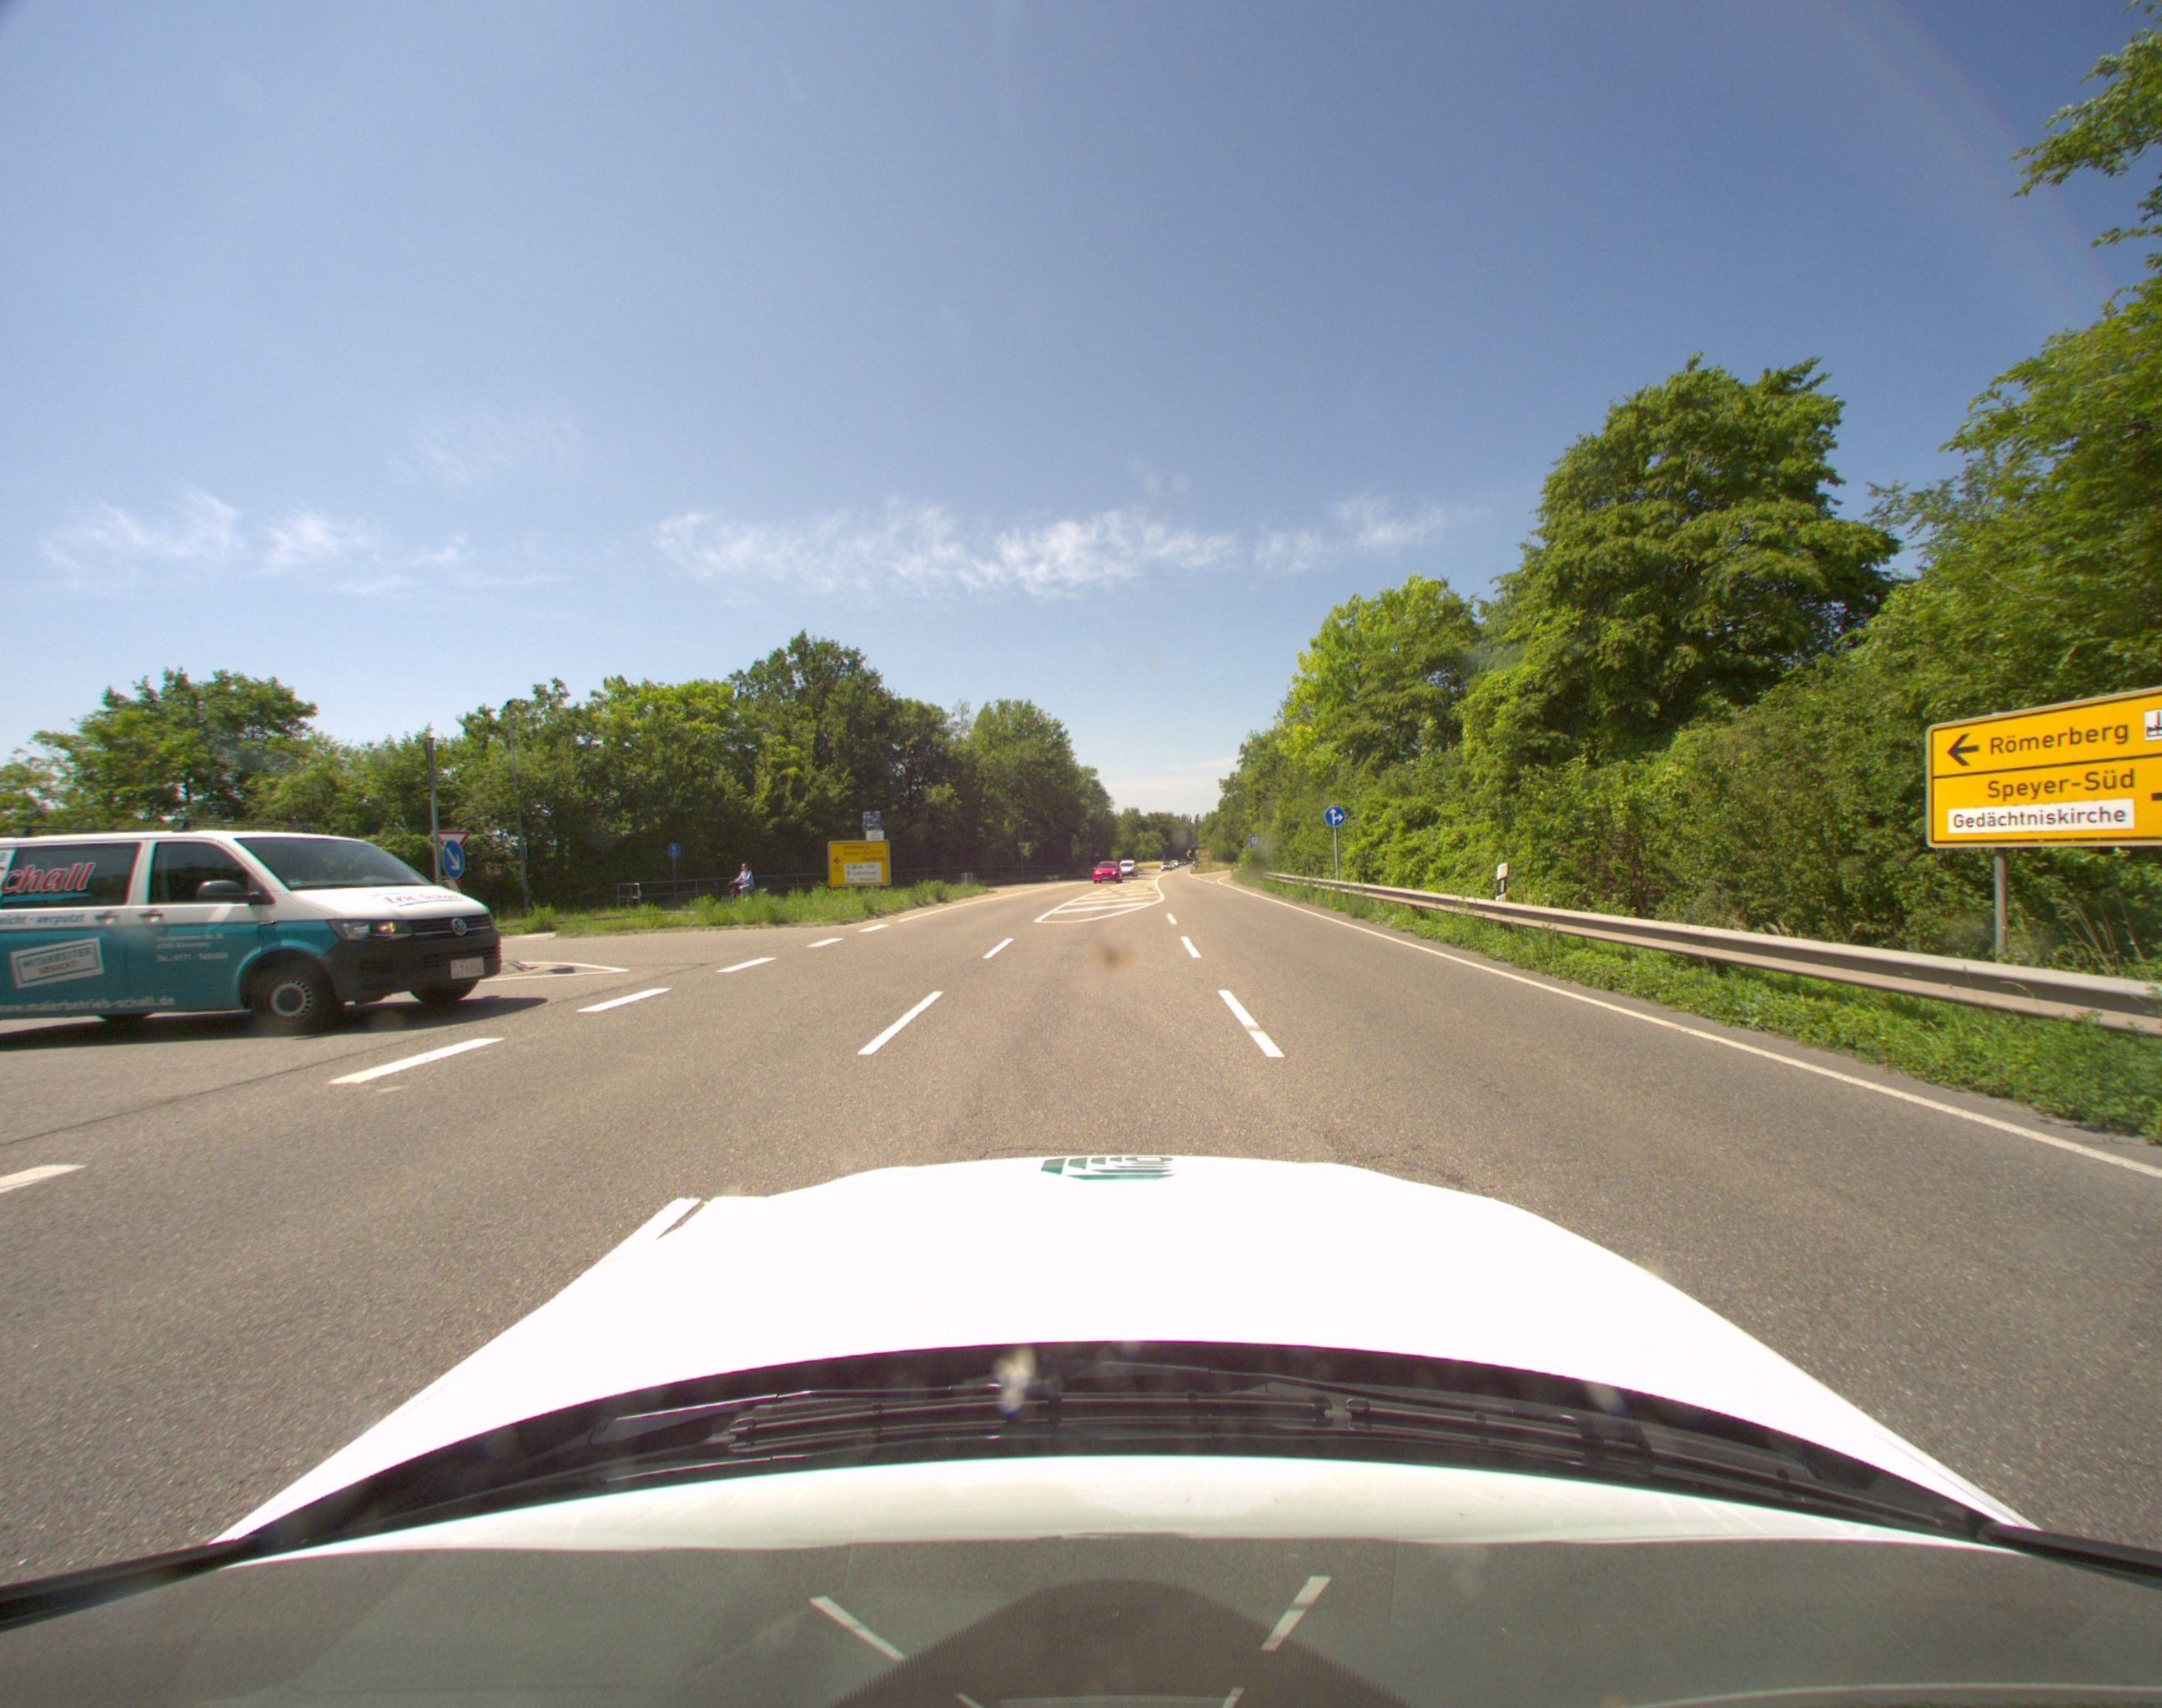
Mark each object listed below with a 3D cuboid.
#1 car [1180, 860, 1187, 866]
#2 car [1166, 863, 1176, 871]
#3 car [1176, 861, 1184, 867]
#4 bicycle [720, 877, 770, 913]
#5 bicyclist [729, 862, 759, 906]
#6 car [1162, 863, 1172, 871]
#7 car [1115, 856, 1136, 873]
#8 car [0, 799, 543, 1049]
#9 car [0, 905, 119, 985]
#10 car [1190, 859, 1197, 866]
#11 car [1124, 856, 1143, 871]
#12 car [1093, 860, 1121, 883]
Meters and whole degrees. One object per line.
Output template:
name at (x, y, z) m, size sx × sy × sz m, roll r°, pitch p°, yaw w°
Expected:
car at (29.271, 2.511, 232.818) m, size 1.710 × 1.509 × 3.718 m, roll -2°, pitch 0°, yaw 9°
car at (18.812, 2.773, 169.982) m, size 1.667 × 1.527 × 4.011 m, roll -2°, pitch 0°, yaw 10°
car at (23.567, 2.379, 194.458) m, size 1.710 × 1.528 × 3.718 m, roll -2°, pitch 0°, yaw 9°
bicycle at (-10.825, 1.306, 26.278) m, size 0.431 × 1.113 × 1.491 m, roll -2°, pitch -1°, yaw 36°
bicyclist at (-10.861, 0.963, 26.256) m, size 0.681 × 1.363 × 0.613 m, roll -2°, pitch -1°, yaw 36°
car at (16.350, 2.447, 154.217) m, size 1.668 × 1.527 × 4.008 m, roll -2°, pitch 0°, yaw 7°
car at (4.887, 1.163, 88.918) m, size 1.984 × 1.730 × 4.281 m, roll -2°, pitch 0°, yaw 6°
car at (-8.763, 0.666, 8.240) m, size 5.155 × 2.027 × 1.999 m, roll -3°, pitch 0°, yaw -1°
car at (-23.098, 1.950, 17.011) m, size 3.775 × 1.457 × 1.725 m, roll -3°, pitch 0°, yaw -2°
car at (30.140, 2.260, 218.328) m, size 1.834 × 1.684 × 4.007 m, roll -1°, pitch 0°, yaw 6°
car at (11.447, 2.051, 178.279) m, size 2.004 × 3.226 × 4.767 m, roll -1°, pitch 0°, yaw -26°
car at (1.751, 1.180, 54.998) m, size 1.803 × 1.458 × 3.759 m, roll -1°, pitch 0°, yaw 2°
